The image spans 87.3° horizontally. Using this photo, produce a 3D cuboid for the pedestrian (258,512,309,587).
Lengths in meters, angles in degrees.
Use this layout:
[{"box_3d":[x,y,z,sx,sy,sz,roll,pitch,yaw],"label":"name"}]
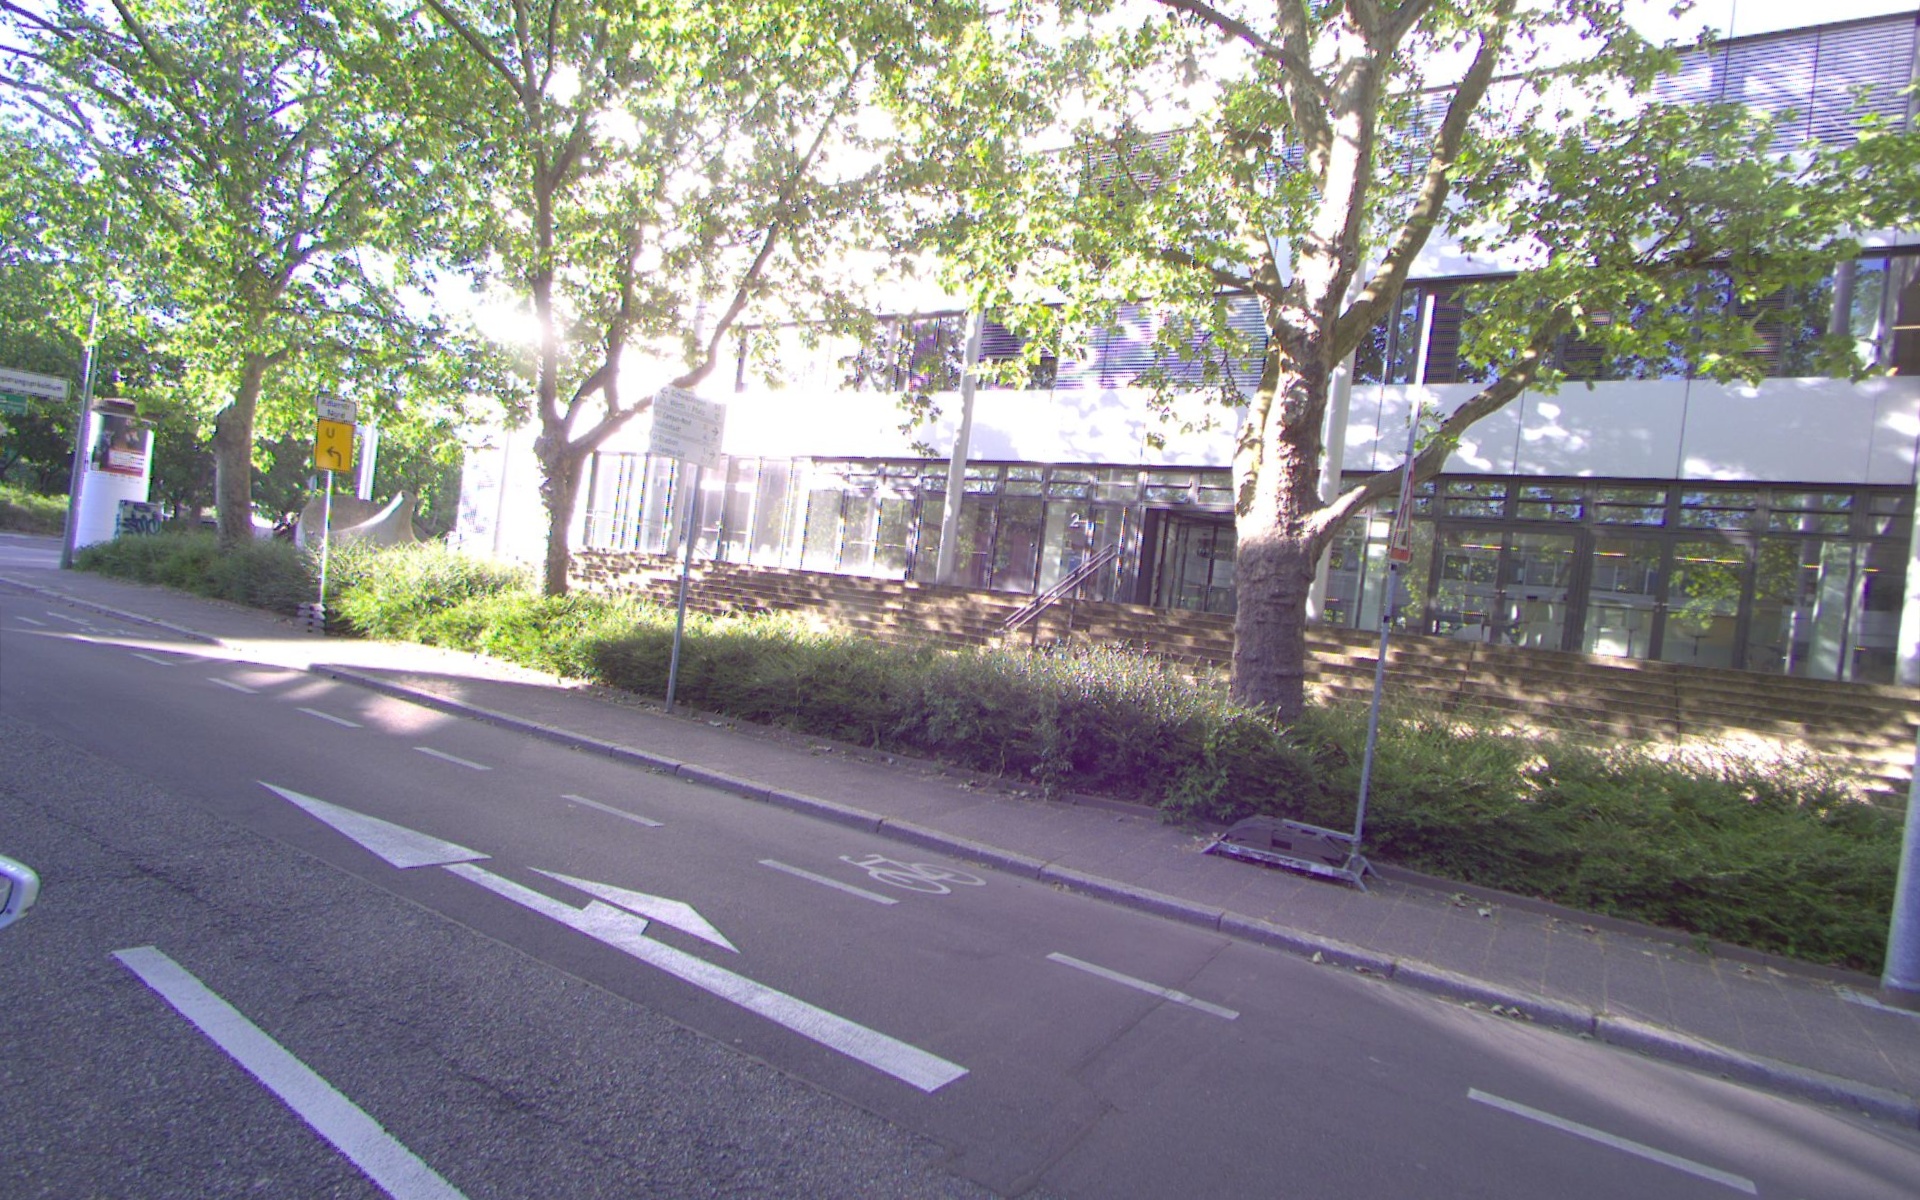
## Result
[{"box_3d":[-17.424,-1.299,25.916,0.719,1.799,0.735,6,-1,40],"label":"pedestrian"}]
